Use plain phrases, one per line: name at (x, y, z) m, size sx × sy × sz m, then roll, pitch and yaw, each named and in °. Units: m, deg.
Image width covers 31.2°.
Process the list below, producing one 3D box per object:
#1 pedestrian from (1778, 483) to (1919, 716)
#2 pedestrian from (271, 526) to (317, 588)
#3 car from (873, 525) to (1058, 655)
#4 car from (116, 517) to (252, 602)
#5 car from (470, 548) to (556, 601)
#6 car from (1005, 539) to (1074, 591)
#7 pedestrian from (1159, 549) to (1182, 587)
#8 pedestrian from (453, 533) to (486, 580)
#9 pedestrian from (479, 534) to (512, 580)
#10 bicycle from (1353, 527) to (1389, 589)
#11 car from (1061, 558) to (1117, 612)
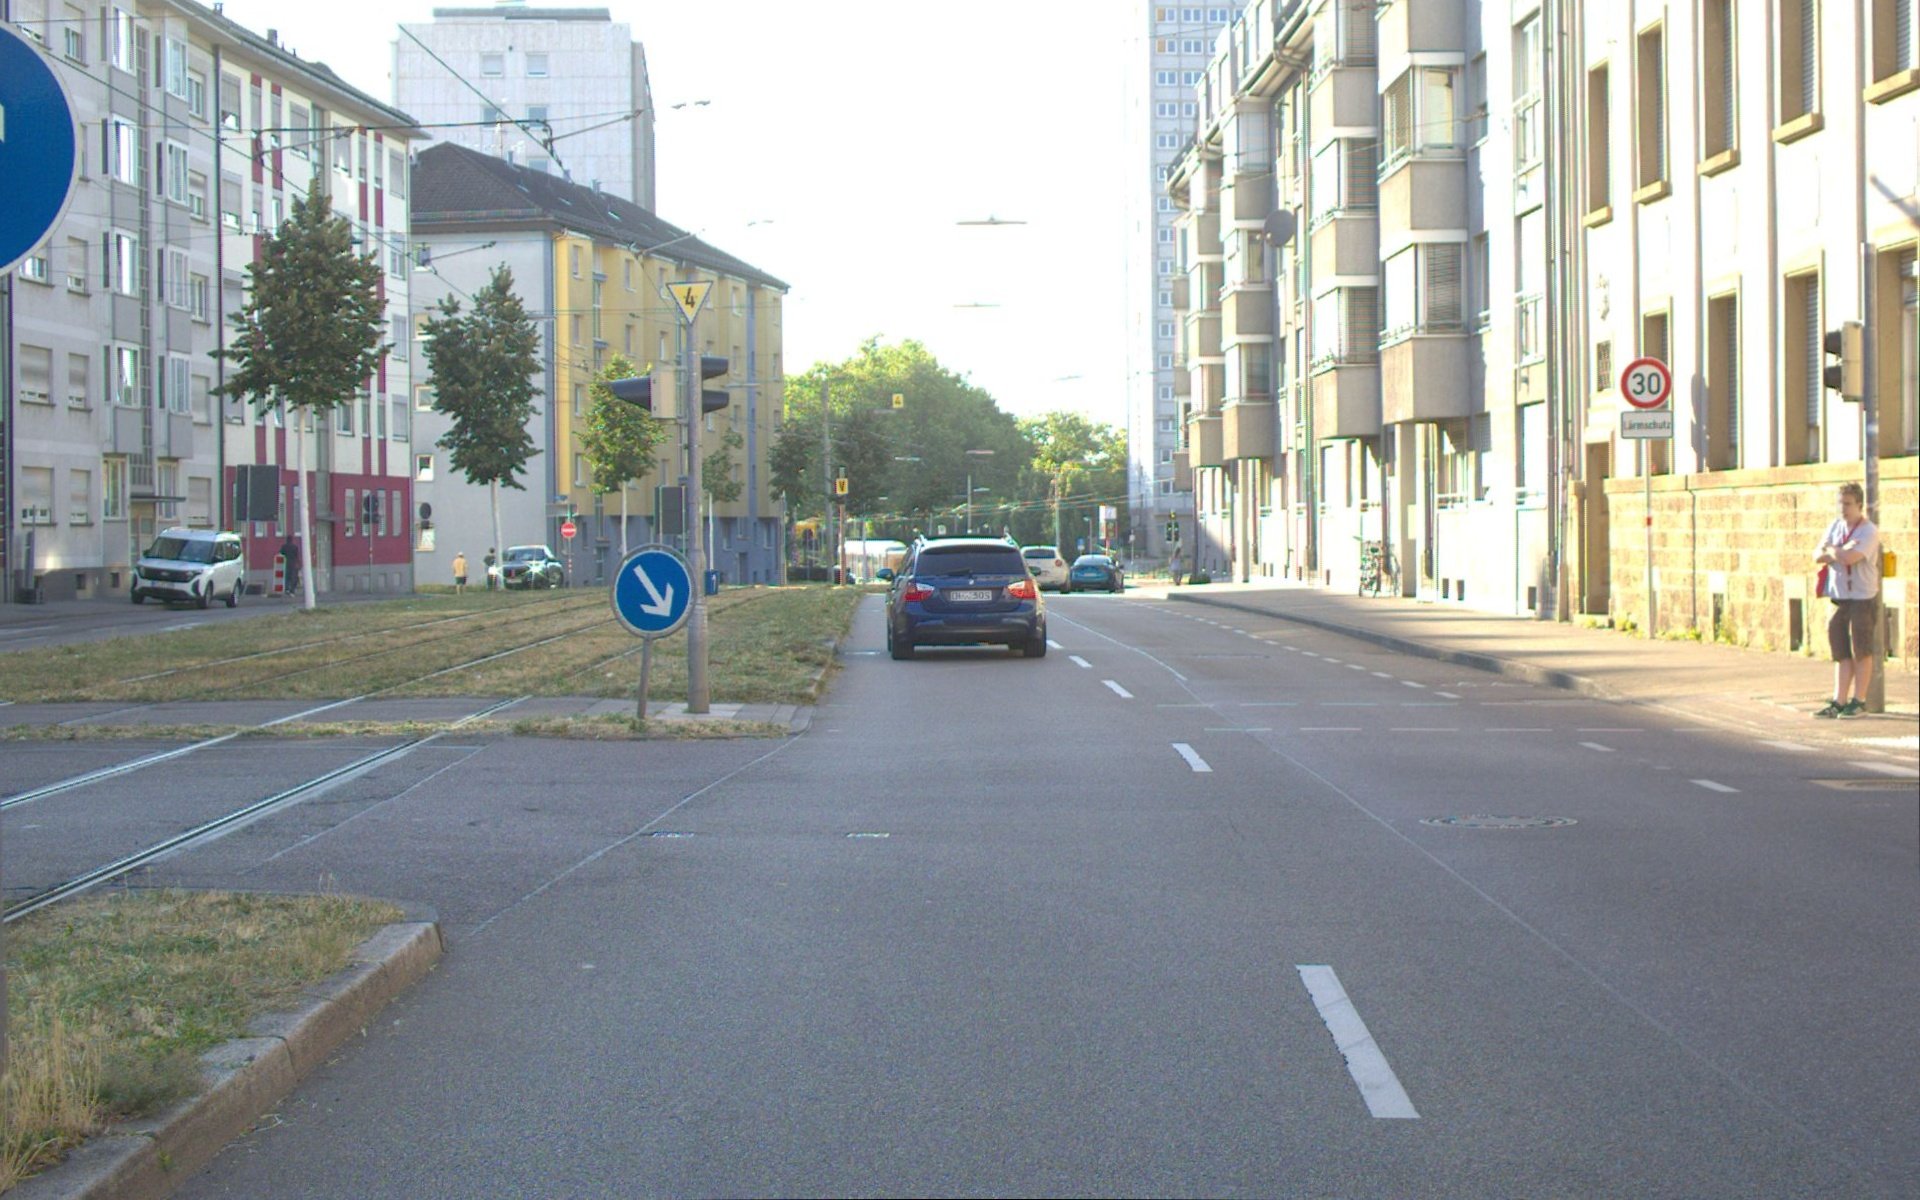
pedestrian at (6.806, -0.008, 26.380) m, size 0.835 × 1.756 × 0.824 m, roll 1°, pitch 0°, yaw -1°
pedestrian at (-19.251, -1.246, 99.370) m, size 1.269 × 1.755 × 1.274 m, roll 1°, pitch 0°, yaw -10°
car at (0.010, -0.135, 40.957) m, size 1.926 × 1.451 × 4.328 m, roll 1°, pitch 1°, yaw -3°
car at (-18.382, -0.958, 81.640) m, size 1.994 × 1.918 × 4.541 m, roll 1°, pitch 1°, yaw 3°
car at (-14.449, -0.837, 111.359) m, size 1.897 × 1.628 × 4.747 m, roll -1°, pitch 1°, yaw 3°
car at (2.425, -1.084, 105.865) m, size 1.993 × 1.558 × 4.000 m, roll 1°, pitch 1°, yaw 0°
pedestrian at (6.923, -1.050, 112.969) m, size 0.691 × 1.230 × 0.736 m, roll 1°, pitch 0°, yaw -1°
pedestrian at (-17.884, -1.572, 125.375) m, size 0.962 × 1.688 × 1.011 m, roll 1°, pitch 0°, yaw 5°
pedestrian at (-17.008, -1.557, 125.882) m, size 0.962 × 1.664 × 1.011 m, roll 1°, pitch 0°, yaw 5°
bicycle at (7.408, -0.759, 62.033) m, size 0.383 × 1.092 × 1.504 m, roll -1°, pitch 1°, yaw -3°
car at (5.043, -0.596, 134.795) m, size 1.993 × 2.007 × 4.000 m, roll -1°, pitch 1°, yaw -1°
